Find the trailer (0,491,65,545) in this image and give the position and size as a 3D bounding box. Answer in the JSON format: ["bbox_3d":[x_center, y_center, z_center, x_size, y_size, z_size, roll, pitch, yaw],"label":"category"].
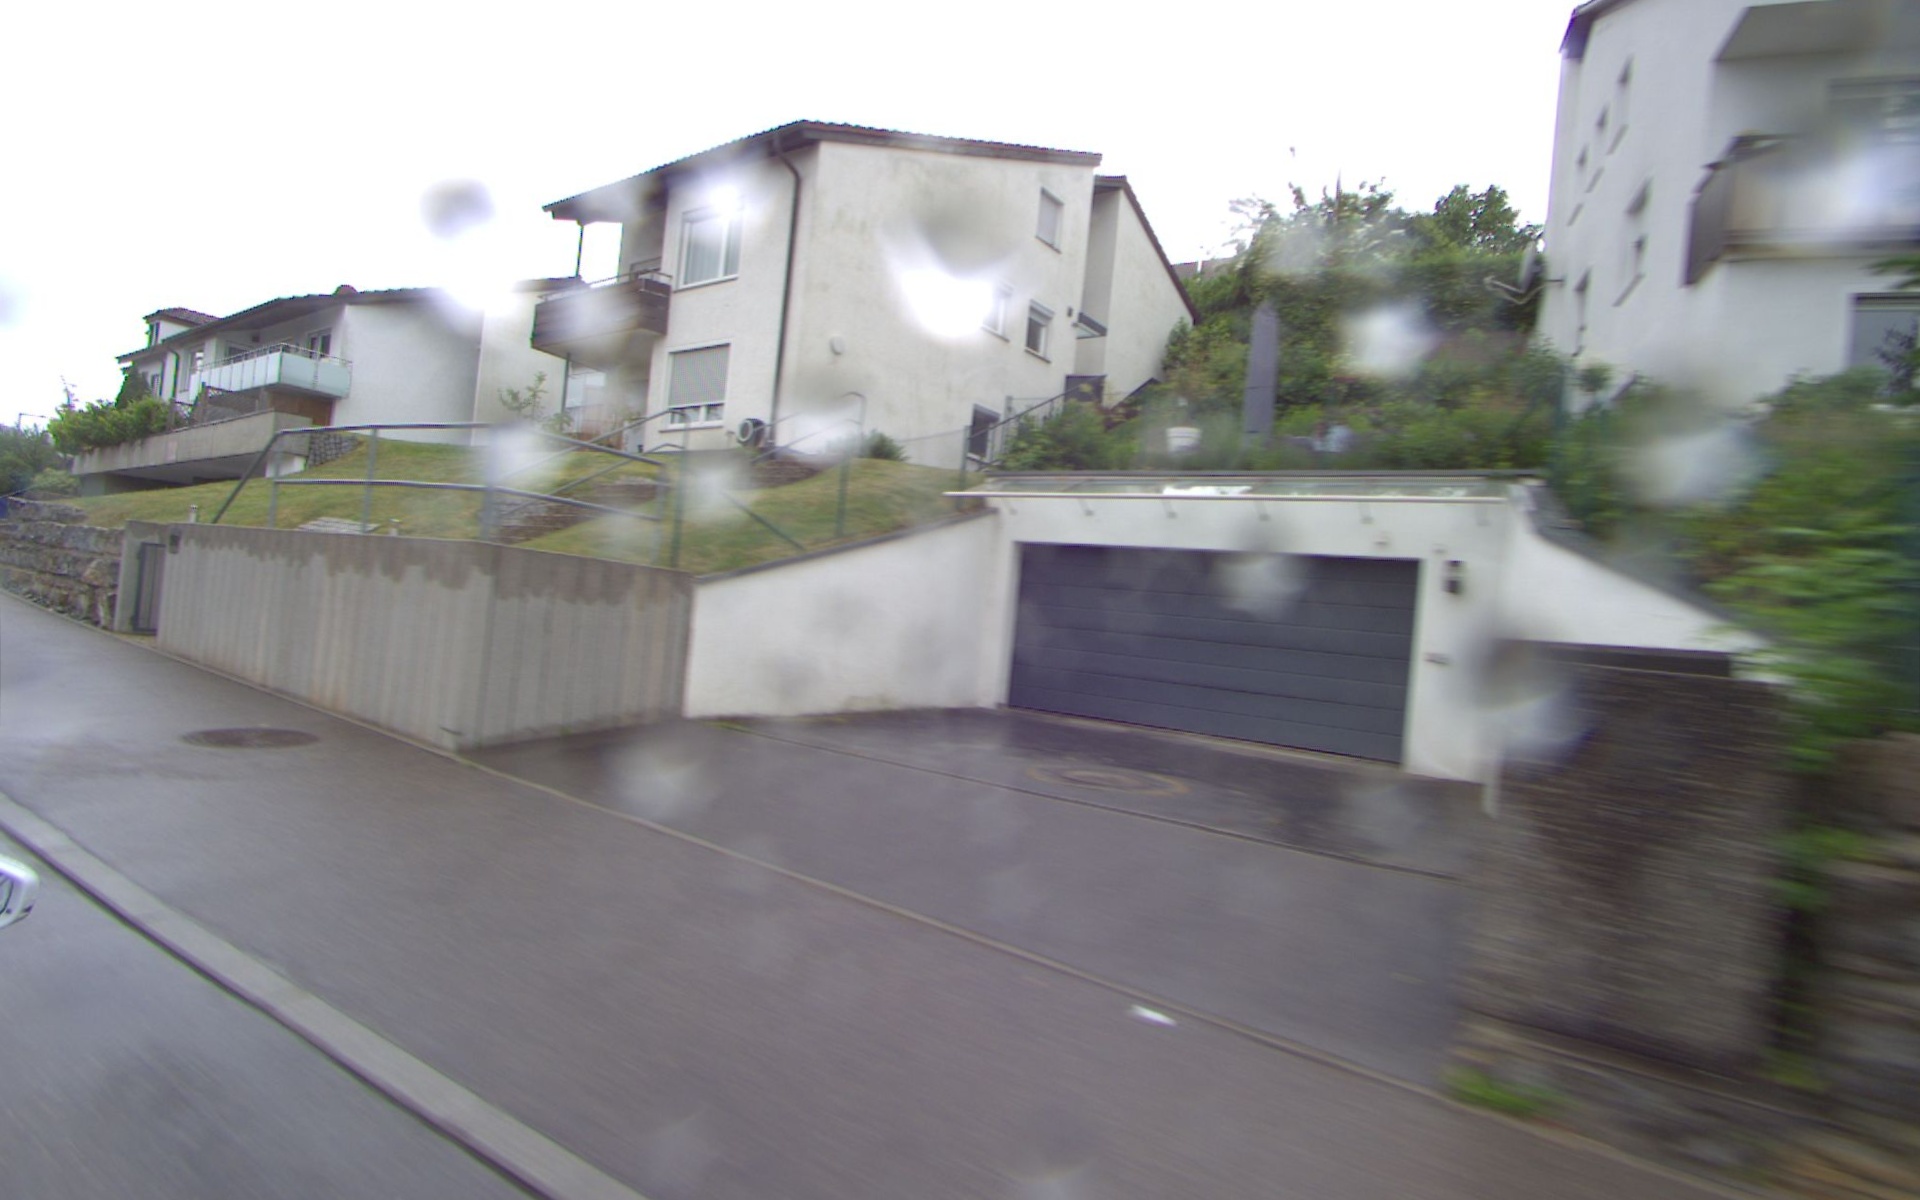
[{"bbox_3d":[-36.177,-3.191,38.804,2.346,1.769,1.976,7,-1,-43],"label":"trailer"}]
